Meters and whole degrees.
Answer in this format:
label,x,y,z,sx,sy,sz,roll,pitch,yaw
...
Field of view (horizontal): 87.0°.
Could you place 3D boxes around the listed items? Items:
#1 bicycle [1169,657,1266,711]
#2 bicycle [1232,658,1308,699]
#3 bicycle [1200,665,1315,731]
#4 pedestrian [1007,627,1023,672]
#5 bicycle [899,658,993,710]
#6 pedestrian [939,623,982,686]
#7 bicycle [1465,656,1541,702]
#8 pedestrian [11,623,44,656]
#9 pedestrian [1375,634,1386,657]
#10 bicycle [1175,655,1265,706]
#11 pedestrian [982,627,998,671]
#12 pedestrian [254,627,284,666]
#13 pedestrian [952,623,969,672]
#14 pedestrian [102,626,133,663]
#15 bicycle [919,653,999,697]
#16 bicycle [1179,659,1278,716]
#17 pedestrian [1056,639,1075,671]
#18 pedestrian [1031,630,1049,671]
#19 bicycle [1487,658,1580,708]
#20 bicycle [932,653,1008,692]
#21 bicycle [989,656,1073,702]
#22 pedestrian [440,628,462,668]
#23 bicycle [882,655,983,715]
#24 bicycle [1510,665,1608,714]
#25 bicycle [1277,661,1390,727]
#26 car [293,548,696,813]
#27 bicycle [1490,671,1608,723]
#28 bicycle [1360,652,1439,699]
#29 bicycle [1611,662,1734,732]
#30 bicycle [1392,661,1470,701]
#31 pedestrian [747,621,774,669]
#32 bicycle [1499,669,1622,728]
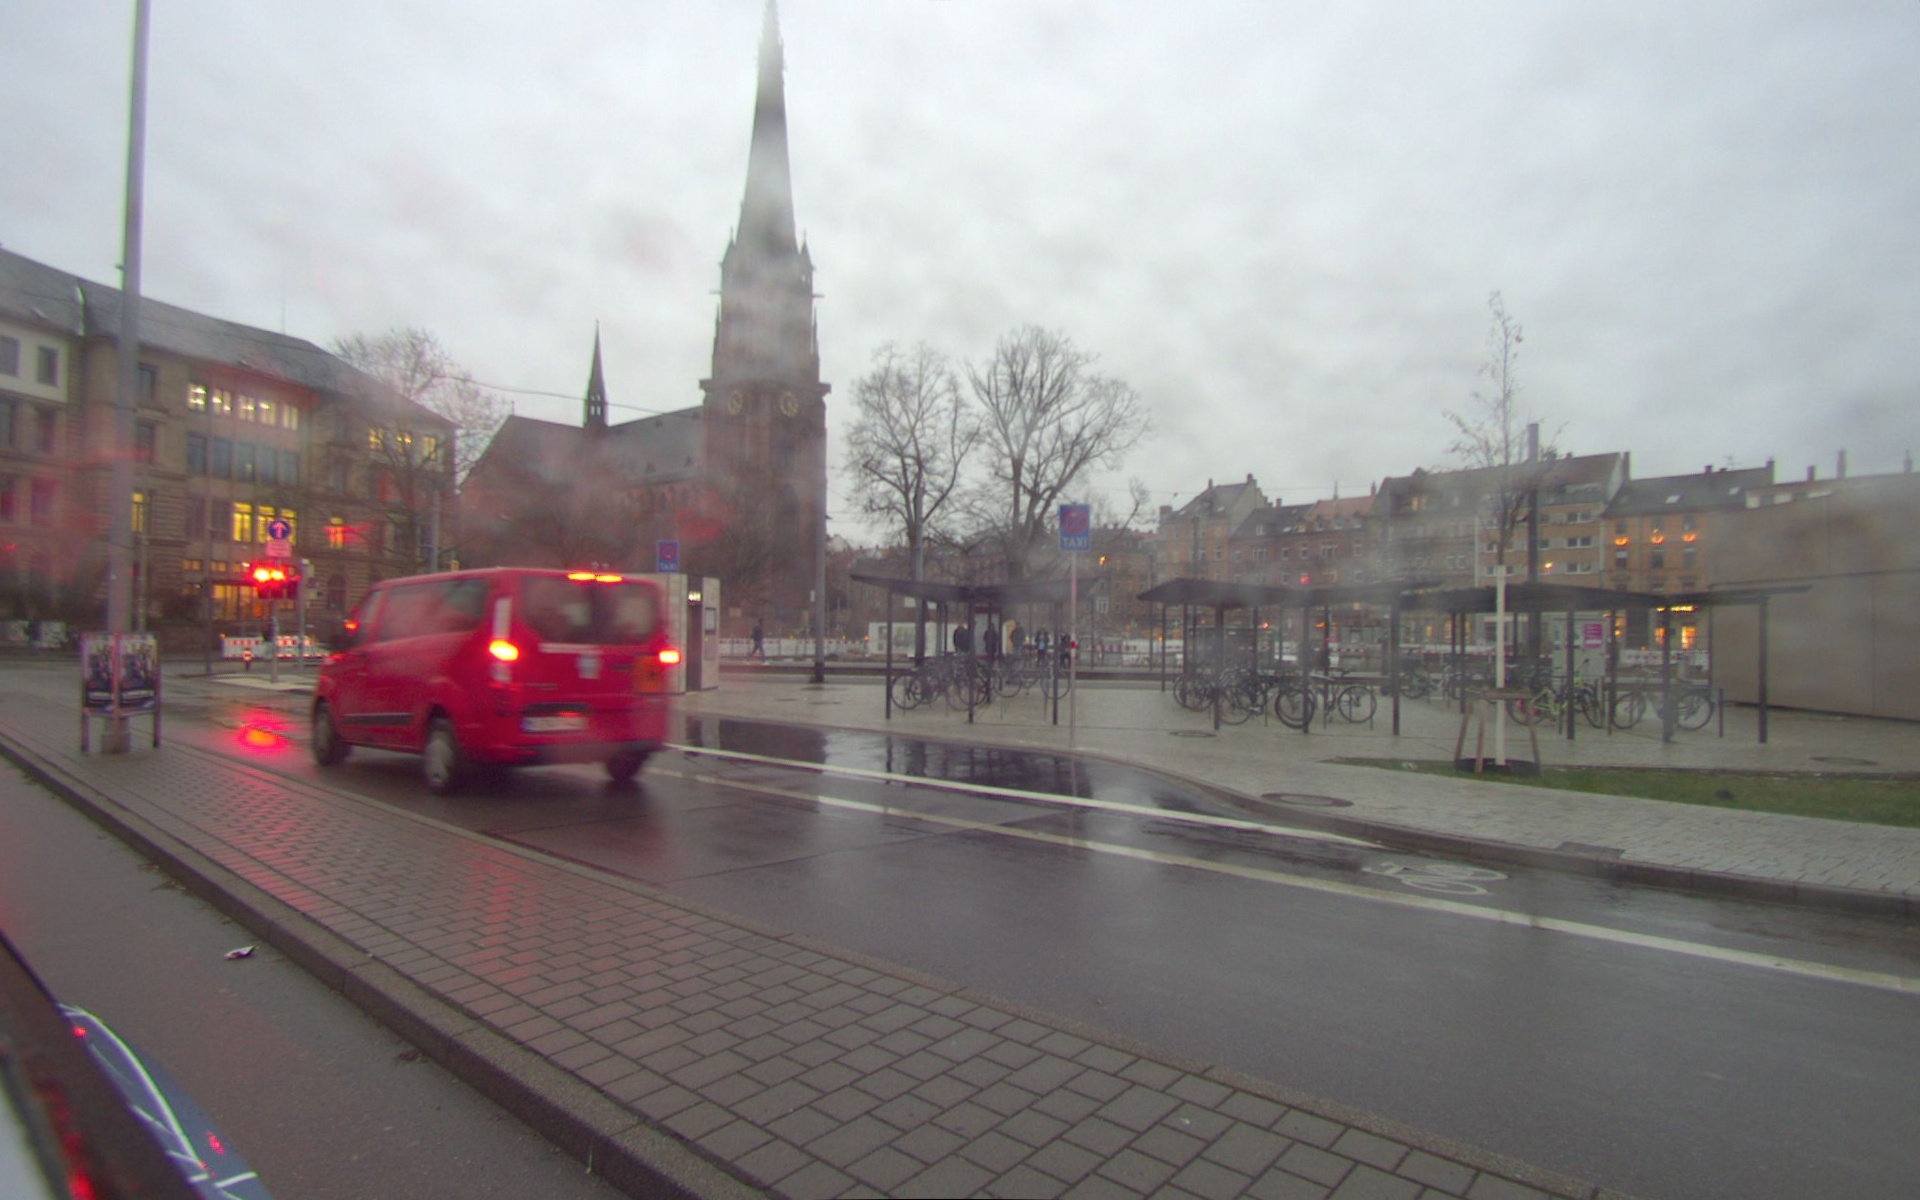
label,x,y,z,sx,sy,sz,roll,pitch,yaw
bicycle,5.432,1.774,21.403,1.899,1.078,0.474,1,-1,2
bicycle,7.664,1.943,25.072,1.729,0.946,0.474,1,-1,7
bicycle,5.258,1.721,17.958,1.905,1.078,0.473,1,-1,11
pedestrian,2.070,1.857,38.115,0.543,1.648,0.571,-1,0,-1
bicycle,-0.286,1.735,21.106,1.905,0.993,0.473,1,-1,11
pedestrian,0.025,1.548,28.858,1.056,1.778,1.008,0,-3,10
bicycle,13.234,1.917,24.666,1.551,1.044,0.521,1,-1,1
pedestrian,-49.955,2.108,54.222,0.916,1.737,0.826,0,-3,4
pedestrian,37.507,4.098,90.268,0.579,2.029,0.707,3,-4,-40
bicycle,5.851,1.810,22.851,1.905,1.078,0.473,1,-1,11
pedestrian,1.150,1.860,38.653,0.556,1.664,0.540,-1,0,-1
pedestrian,-34.740,2.346,50.906,0.960,1.915,0.674,1,-2,-1
pedestrian,0.006,1.803,38.580,0.619,1.808,0.672,-1,0,-1
pedestrian,-42.116,2.216,50.575,0.885,1.830,0.674,1,-2,-1
bicycle,-0.013,1.830,24.871,1.905,0.993,0.473,1,-1,11
bicycle,5.446,1.776,20.619,1.905,1.078,0.473,1,-1,11
pedestrian,3.982,2.073,38.326,0.610,1.165,0.806,-1,0,-1
pedestrian,3.036,1.912,38.334,0.580,1.513,0.675,-1,0,-1
bicycle,13.254,1.910,23.419,1.810,1.081,0.474,1,-1,8
bicycle,0.273,1.869,26.128,1.905,0.917,0.473,1,-1,11
bicycle,1.641,1.823,23.425,1.905,0.993,0.473,1,-1,11
pedestrian,-22.228,2.078,44.197,0.760,1.673,1.212,-1,0,-22
bicycle,-0.537,1.655,19.869,1.905,1.078,0.473,1,-1,11
bicycle,12.902,1.920,21.832,1.751,0.963,0.473,1,-1,11
bicycle,6.947,1.736,18.868,1.905,1.129,0.473,1,-1,11
car,-4.860,0.716,10.244,4.641,2.086,1.904,-1,-4,41
bicycle,11.369,1.863,19.573,1.905,0.898,0.473,1,-1,11
bicycle,11.186,1.925,25.804,1.780,1.116,0.473,1,-1,11
bicycle,12.691,1.725,18.048,1.731,1.165,0.617,1,-1,1
bicycle,11.623,1.992,24.993,1.672,0.898,0.474,1,-1,5
pedestrian,-7.635,1.726,38.736,0.817,1.808,0.669,-1,0,5
bicycle,11.128,1.815,18.786,1.905,0.983,0.473,1,-1,11
